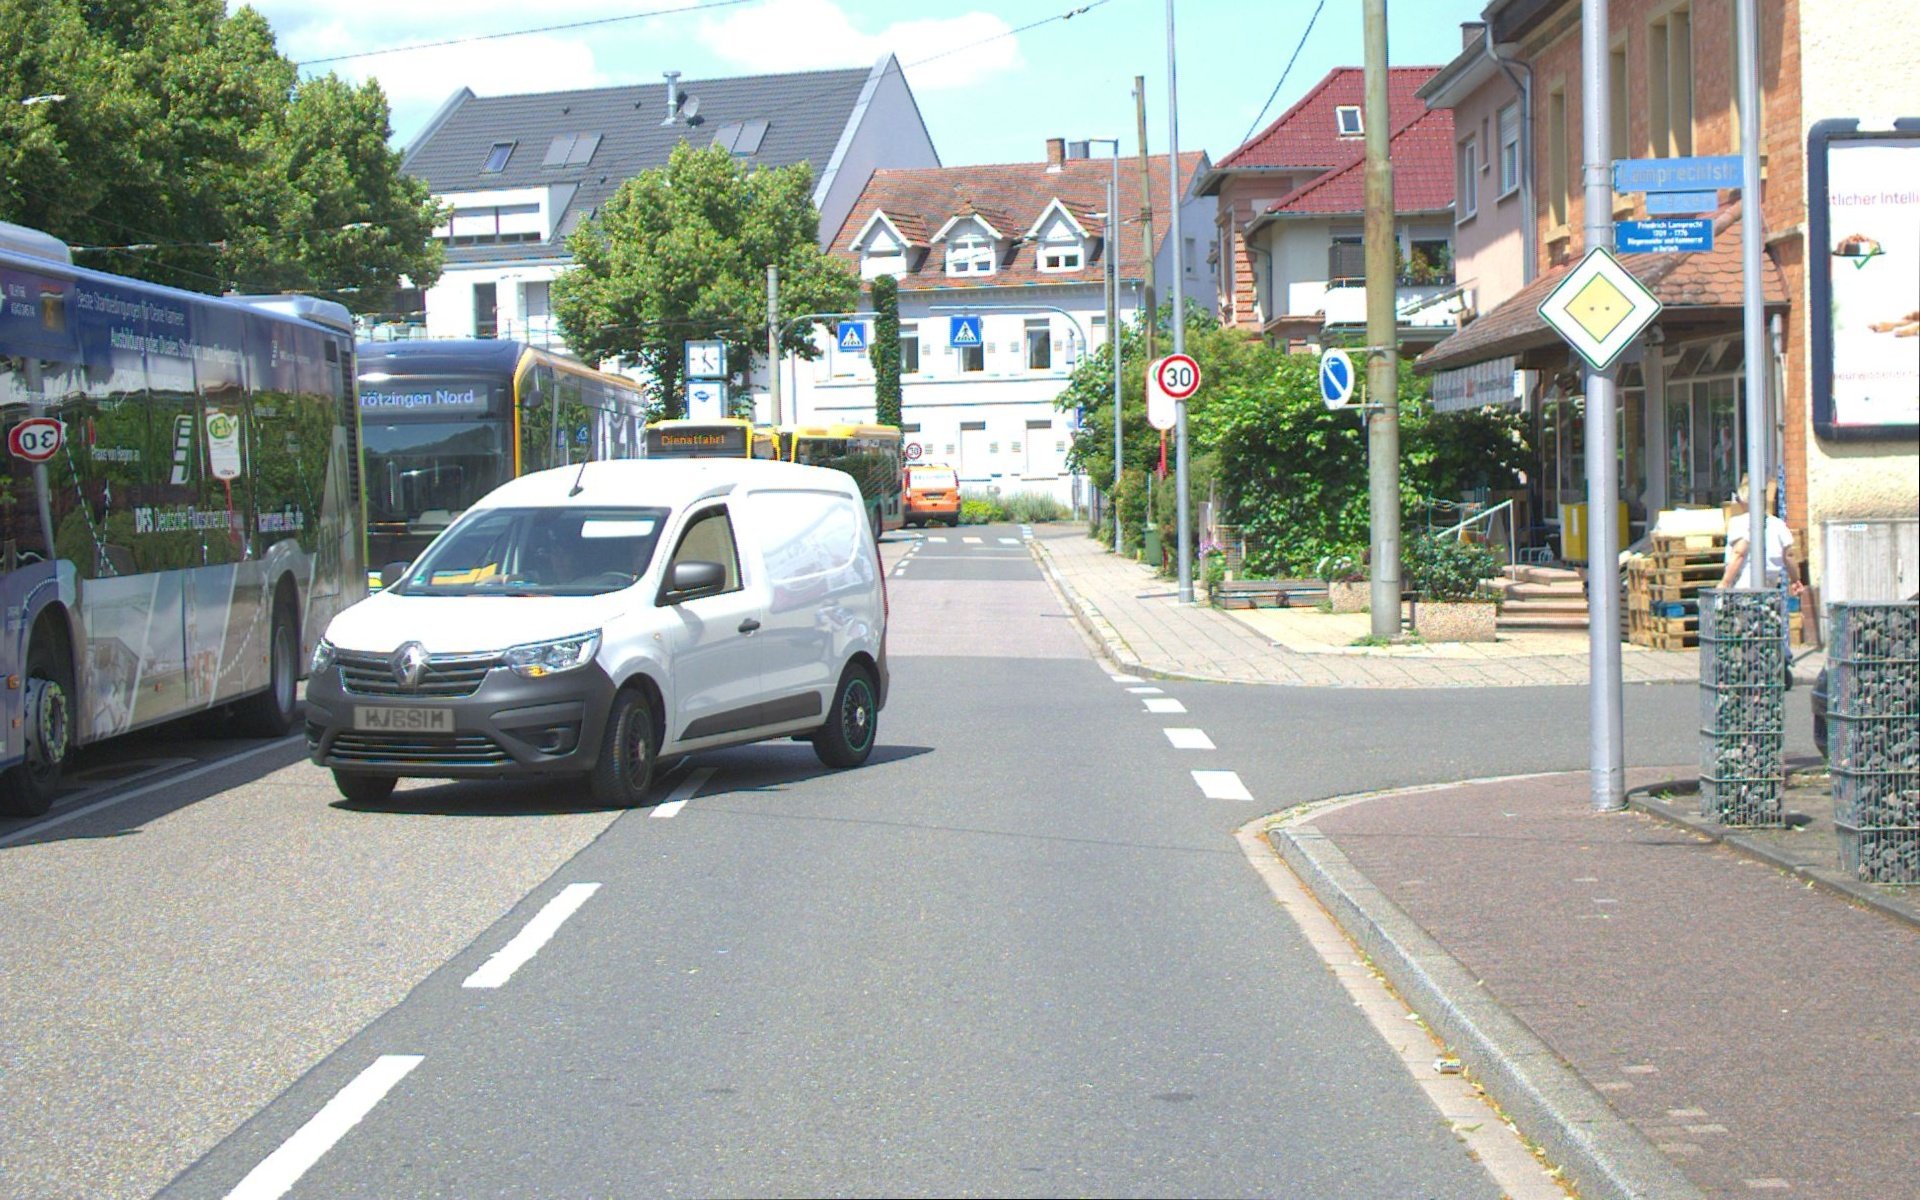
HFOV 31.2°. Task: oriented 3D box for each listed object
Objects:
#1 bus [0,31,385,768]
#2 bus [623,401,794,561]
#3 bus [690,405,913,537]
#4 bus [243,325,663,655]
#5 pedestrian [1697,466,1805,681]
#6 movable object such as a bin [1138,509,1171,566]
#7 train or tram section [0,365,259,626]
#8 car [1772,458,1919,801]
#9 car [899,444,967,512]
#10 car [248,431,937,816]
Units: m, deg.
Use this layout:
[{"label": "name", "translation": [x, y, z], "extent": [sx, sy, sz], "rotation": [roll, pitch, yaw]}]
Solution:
[{"label": "bus", "translation": [-5.921, -1.000, 20.608], "extent": [2.908, 3.415, 12.040], "rotation": [1, 1, 0]}, {"label": "bus", "translation": [-5.449, -2.606, 76.484], "extent": [2.907, 3.236, 12.120], "rotation": [1, 2, 0]}, {"label": "bus", "translation": [-3.970, -3.435, 89.864], "extent": [2.781, 3.197, 12.301], "rotation": [1, 3, 12]}, {"label": "bus", "translation": [-5.561, -1.164, 40.206], "extent": [2.898, 3.236, 12.197], "rotation": [1, 1, 1]}, {"label": "pedestrian", "translation": [6.212, -0.212, 26.976], "extent": [0.705, 1.635, 0.659], "rotation": [-1, 3, 21]}, {"label": "movable object such as a bin", "translation": [3.223, -1.035, 57.095], "extent": [0.406, 0.904, 0.729], "rotation": [-4, 1, -3]}, {"label": "train or tram section", "translation": [-14.183, -1.676, 55.002], "extent": [2.963, 3.630, 13.995], "rotation": [1, 2, 0]}, {"label": "car", "translation": [6.077, 0.081, 16.344], "extent": [3.875, 1.537, 1.843], "rotation": [-1, 1, -12]}, {"label": "car", "translation": [-0.836, -3.820, 108.174], "extent": [1.993, 2.007, 4.000], "rotation": [1, 1, 1]}, {"label": "car", "translation": [-1.848, 0.085, 18.998], "extent": [1.706, 1.844, 4.707], "rotation": [1, 1, 23]}]
